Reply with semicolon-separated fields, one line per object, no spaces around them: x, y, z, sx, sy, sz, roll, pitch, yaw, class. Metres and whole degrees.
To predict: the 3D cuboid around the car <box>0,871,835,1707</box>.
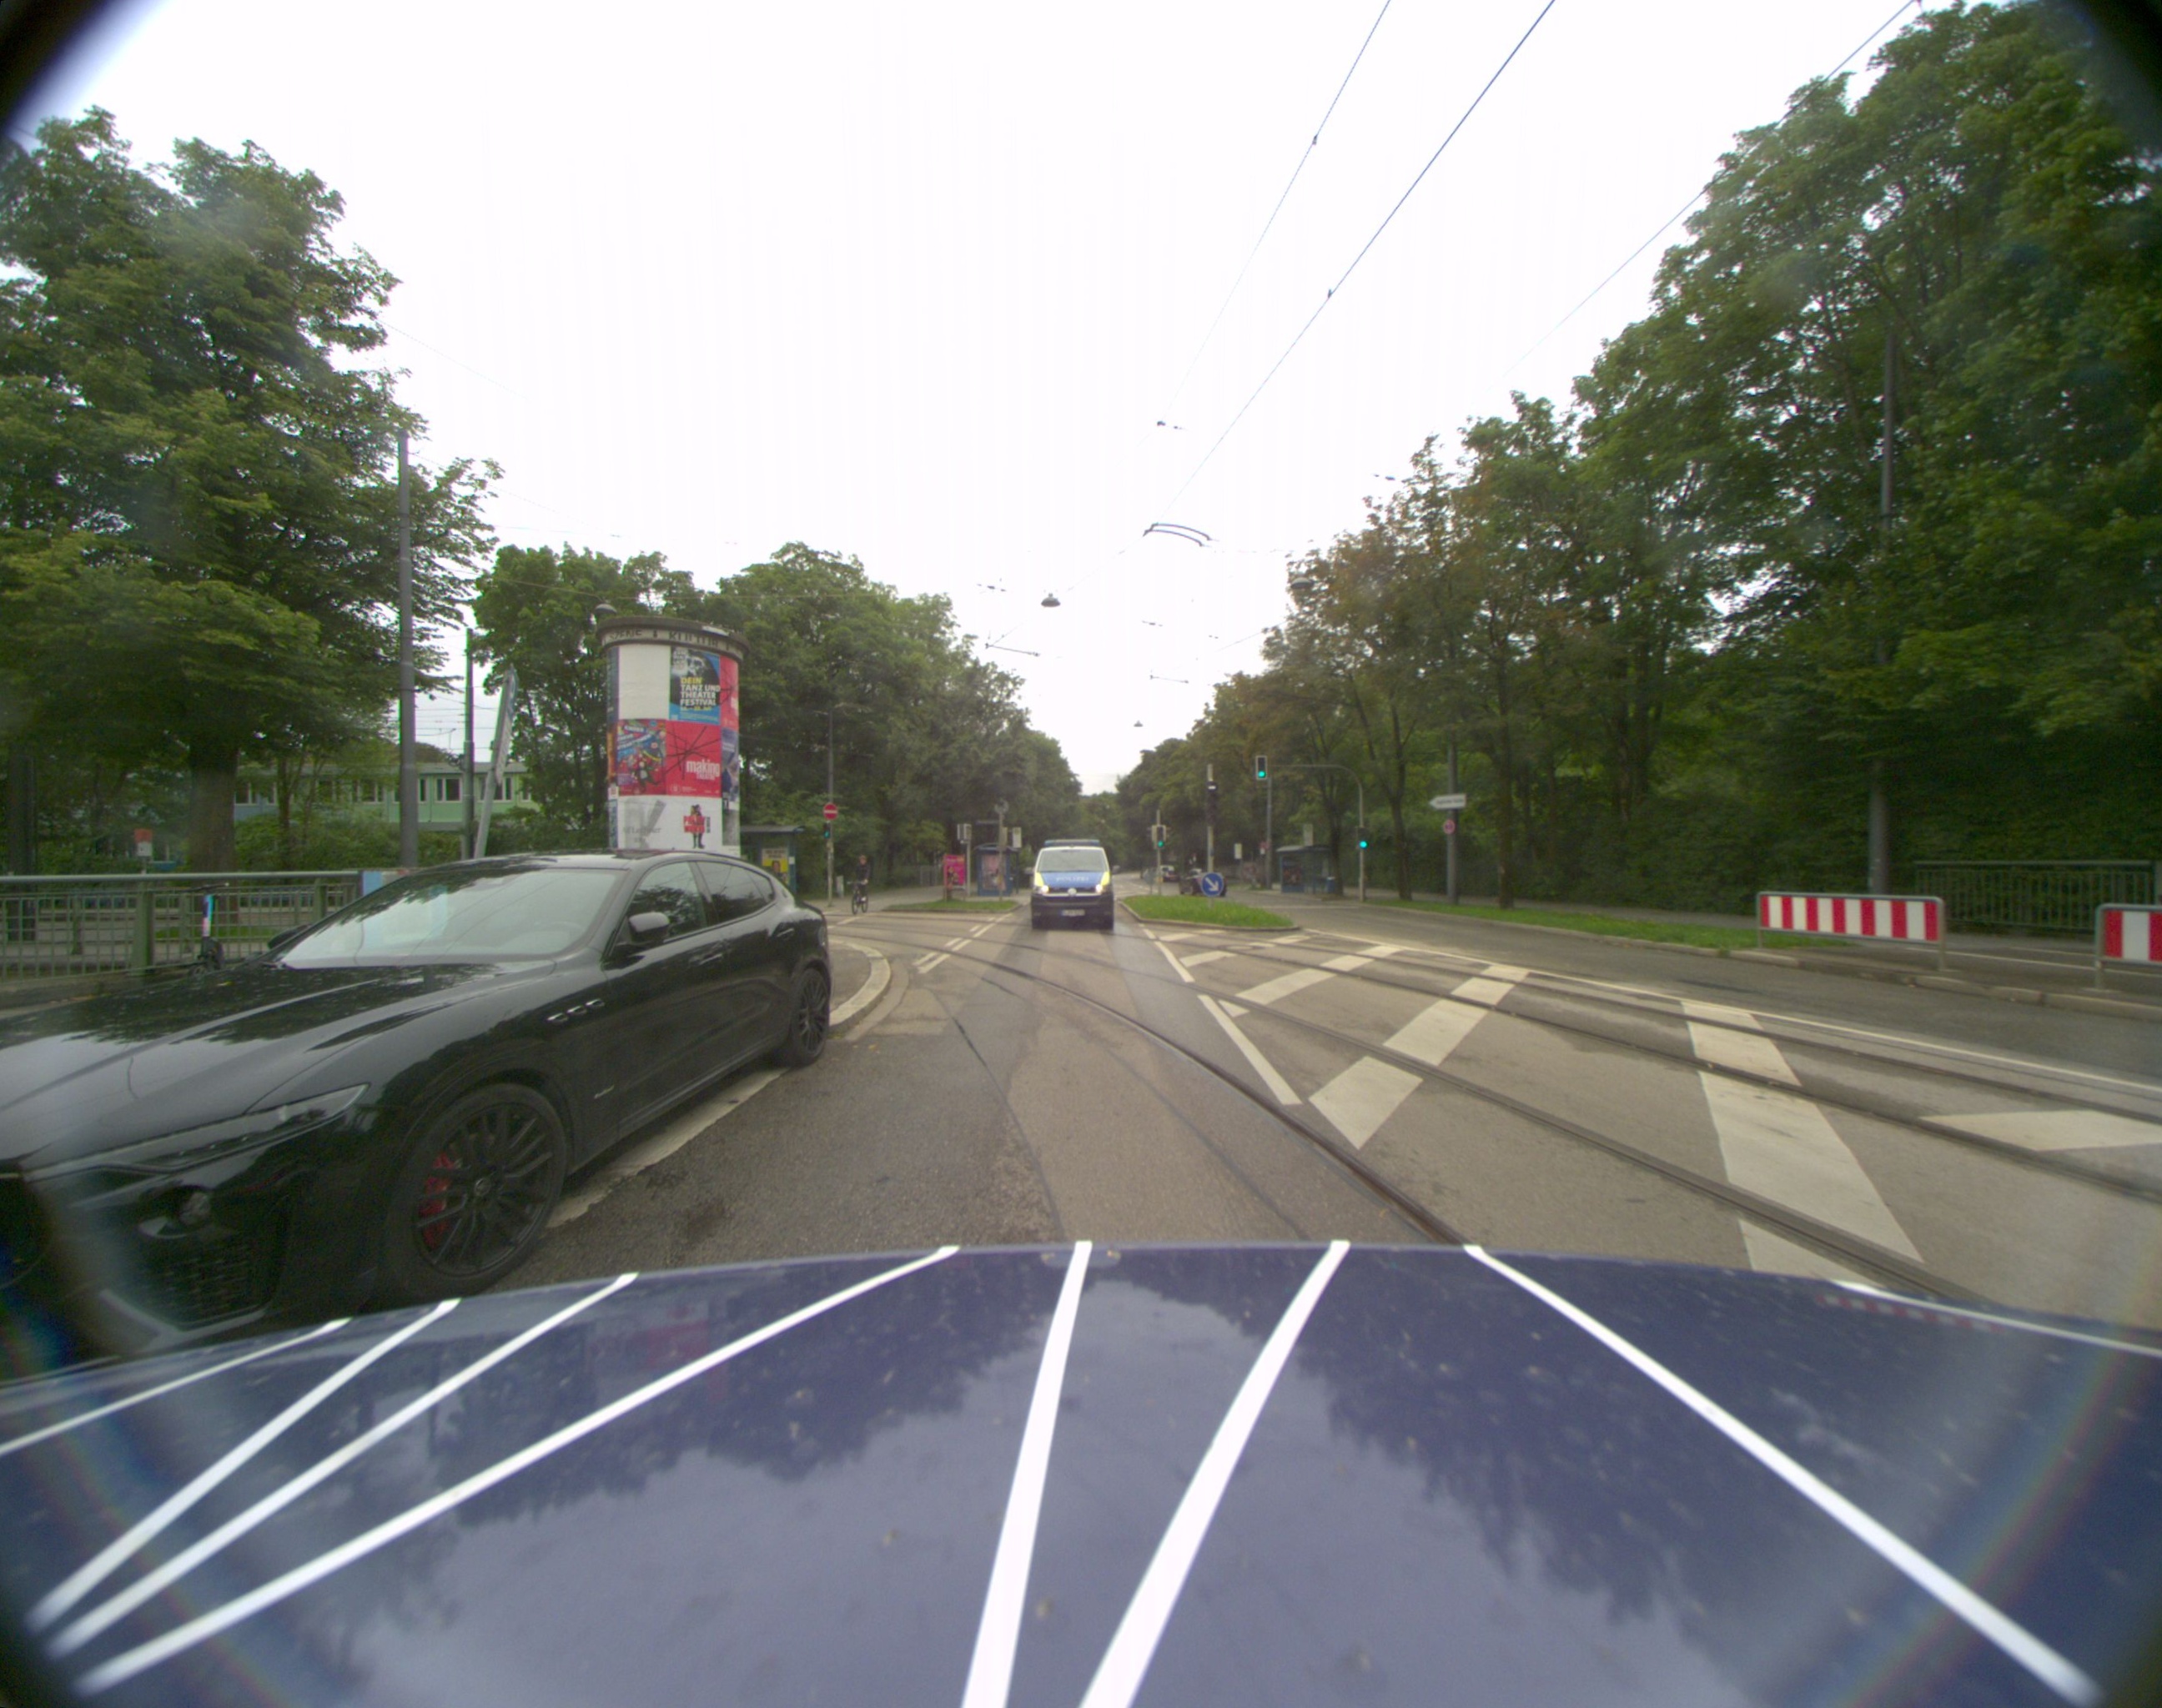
-3.049;0.958;3.866;1.905;1.600;4.665;-2;0;2;car

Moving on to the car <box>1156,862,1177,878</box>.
9.696;1.820;86.678;1.888;1.716;3.999;-2;0;-1;car

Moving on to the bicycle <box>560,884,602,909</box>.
-20.544;1.743;31.201;1.483;0.946;0.373;-1;1;3;bicycle

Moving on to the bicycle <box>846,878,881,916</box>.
-6.969;1.357;24.428;0.580;1.072;1.912;-2;0;-1;bicycle

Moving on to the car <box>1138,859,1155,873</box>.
9.182;1.653;106.487;1.888;1.716;3.999;-2;0;-1;car

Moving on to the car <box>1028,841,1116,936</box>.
-0.229;0.743;19.277;1.903;2.041;5.708;0;0;-1;car

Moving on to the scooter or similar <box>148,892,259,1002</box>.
-10.610;1.088;9.219;0.225;1.205;1.020;-2;1;-8;scooter or similar

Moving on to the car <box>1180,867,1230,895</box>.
6.527;1.390;40.361;1.628;1.380;4.839;1;-1;-2;car

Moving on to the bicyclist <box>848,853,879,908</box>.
-6.993;0.849;24.493;0.726;1.719;0.726;-2;1;-1;bicyclist

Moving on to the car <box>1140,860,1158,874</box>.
9.036;1.709;101.345;1.888;1.716;3.999;-2;0;-1;car

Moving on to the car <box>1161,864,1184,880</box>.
9.691;1.852;80.957;1.888;1.531;3.999;-2;0;-1;car
